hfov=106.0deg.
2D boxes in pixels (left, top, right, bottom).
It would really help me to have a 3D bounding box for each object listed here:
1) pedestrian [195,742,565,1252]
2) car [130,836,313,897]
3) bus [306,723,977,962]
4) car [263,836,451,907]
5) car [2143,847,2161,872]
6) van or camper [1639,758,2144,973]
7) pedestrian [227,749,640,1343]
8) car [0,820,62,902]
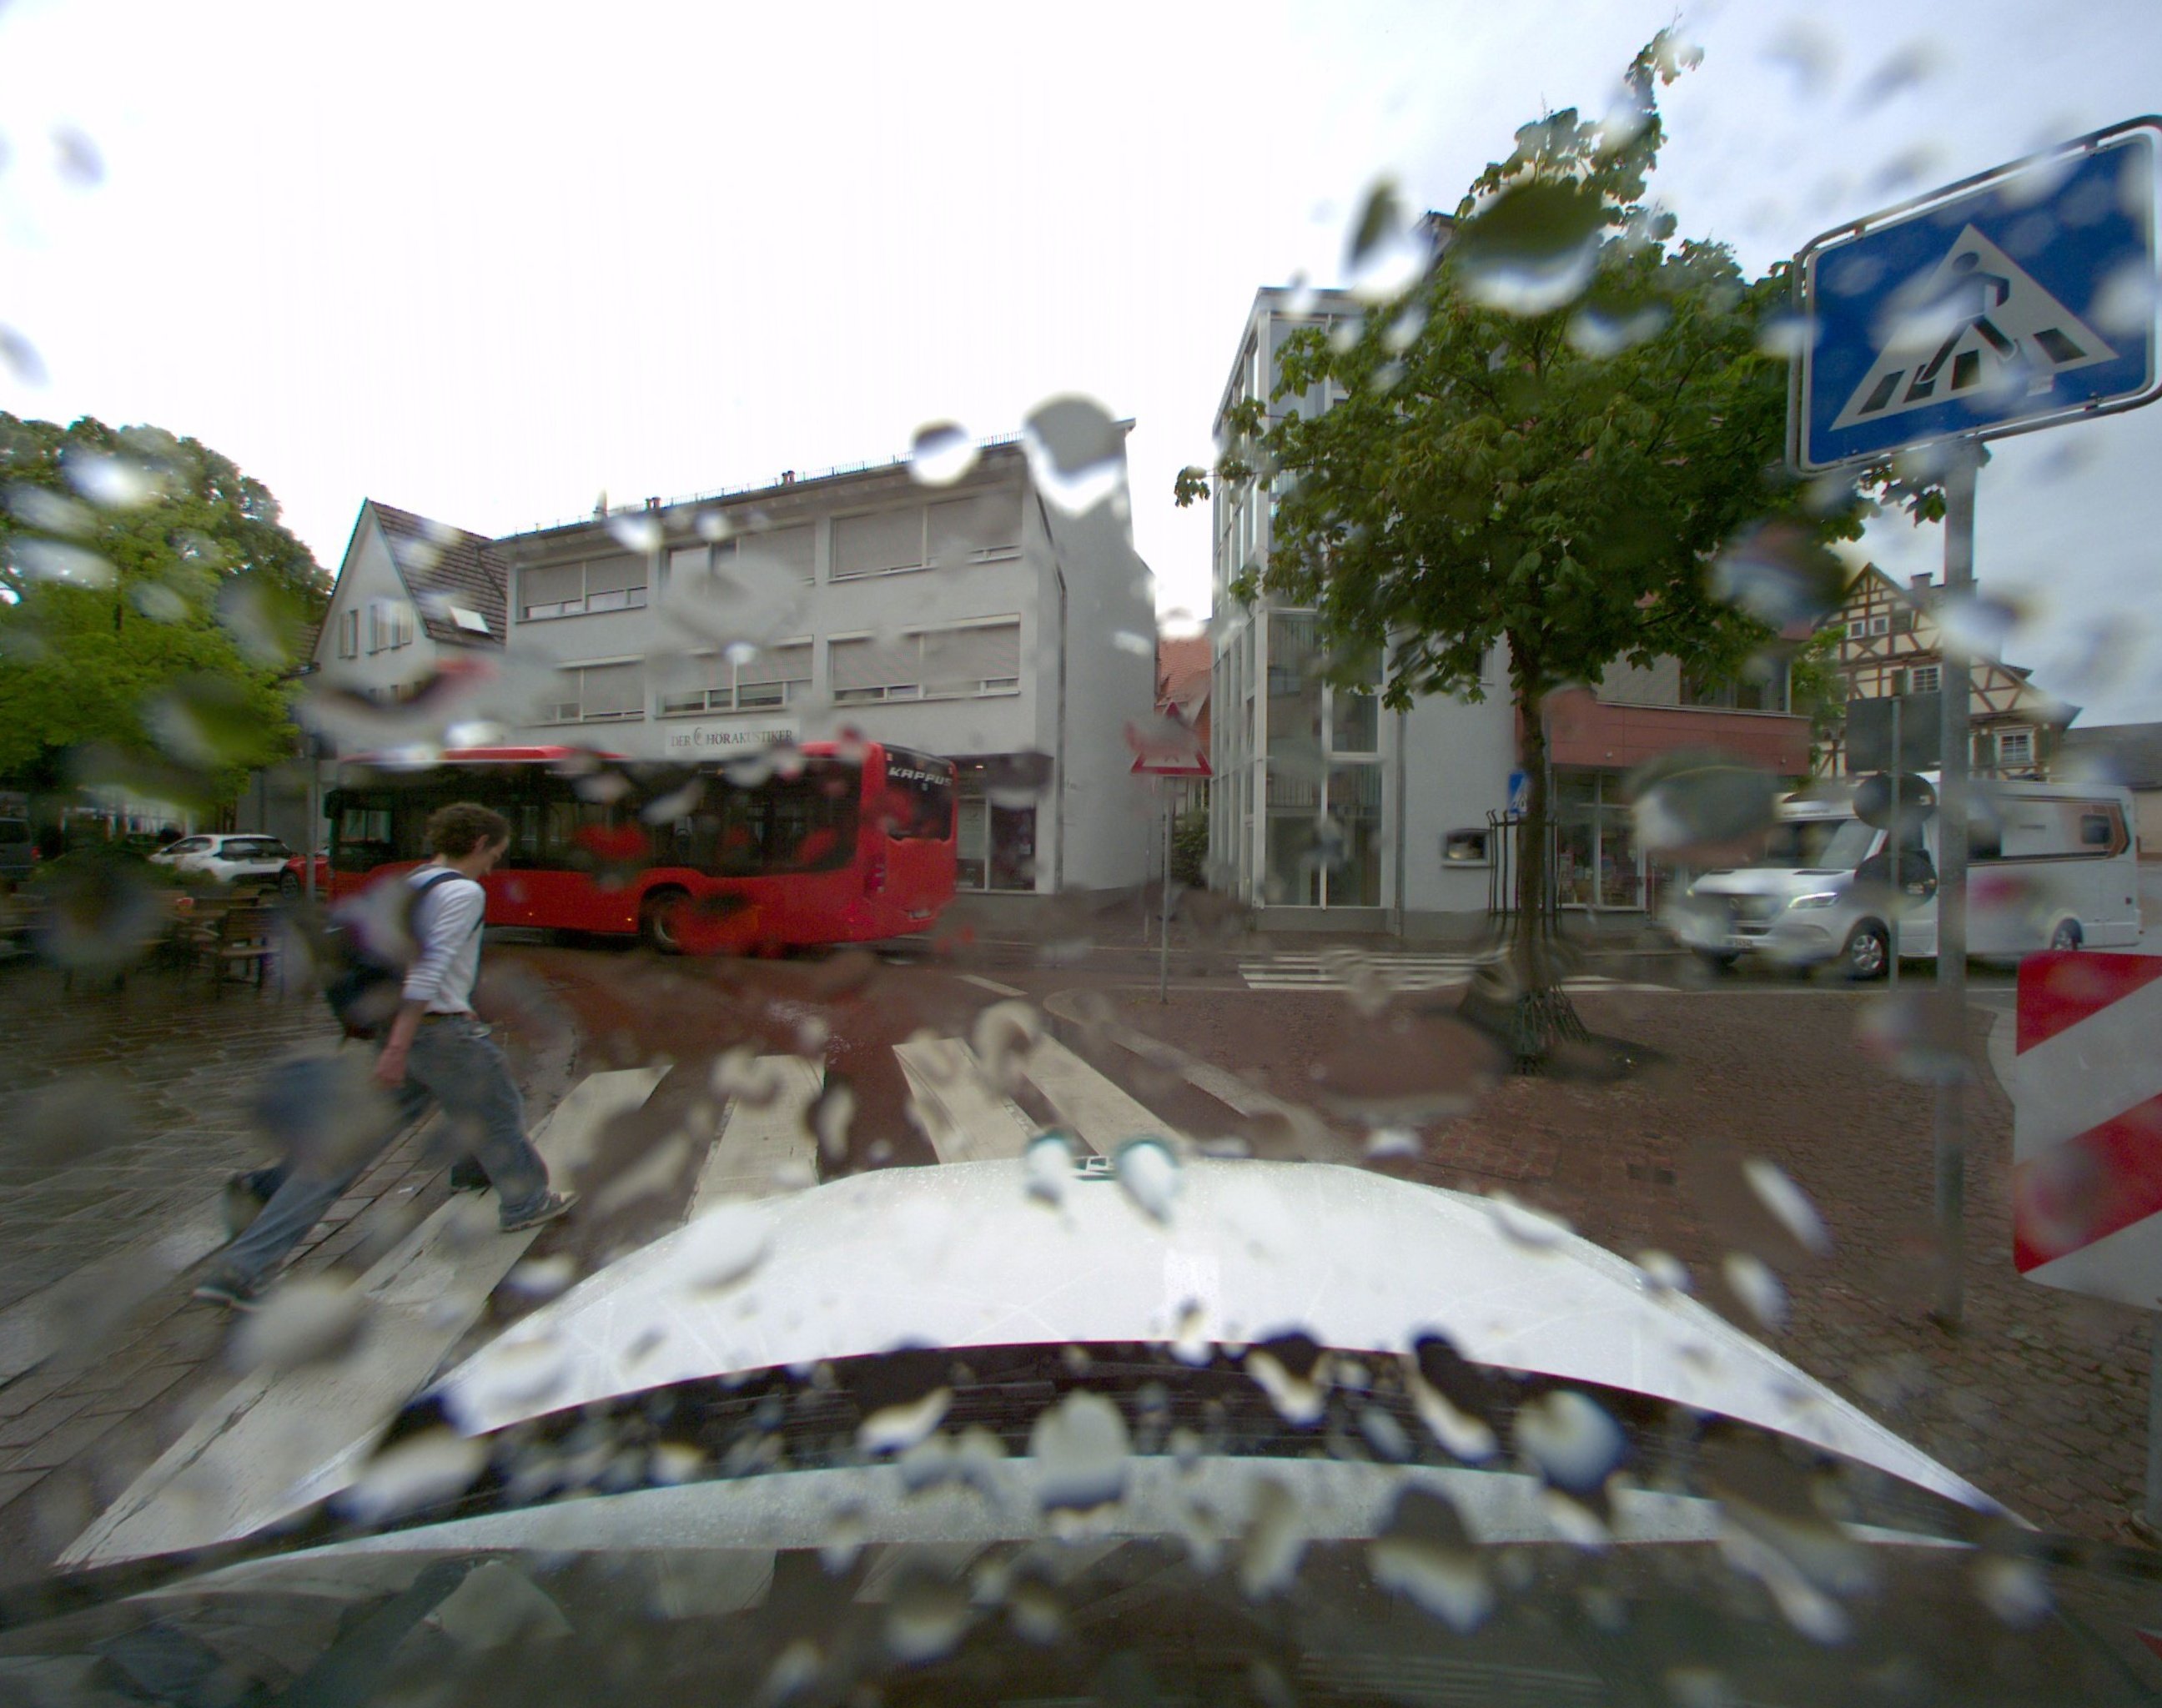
[{"bbox_3d":[-2.975,0.508,3.518,0.685,1.800,1.065,0,-1,37],"label":"pedestrian"},{"bbox_3d":[-22.457,0.306,21.306,3.817,1.496,1.808,0,-1,18],"label":"car"},{"bbox_3d":[-7.165,-0.176,13.273,10.493,3.089,2.833,1,-1,16],"label":"bus"},{"bbox_3d":[-17.237,0.367,19.415,3.756,1.528,1.691,1,1,18],"label":"car"},{"bbox_3d":[73.679,0.388,55.388,3.337,1.713,1.661,1,-1,-39],"label":"car"},{"bbox_3d":[11.916,0.214,12.025,6.746,2.586,2.431,1,-2,-18],"label":"van or camper"},{"bbox_3d":[-2.408,0.588,3.110,0.657,1.807,1.068,0,-1,35],"label":"pedestrian"},{"bbox_3d":[-26.331,0.101,18.877,4.672,1.780,1.963,2,1,20],"label":"car"}]
